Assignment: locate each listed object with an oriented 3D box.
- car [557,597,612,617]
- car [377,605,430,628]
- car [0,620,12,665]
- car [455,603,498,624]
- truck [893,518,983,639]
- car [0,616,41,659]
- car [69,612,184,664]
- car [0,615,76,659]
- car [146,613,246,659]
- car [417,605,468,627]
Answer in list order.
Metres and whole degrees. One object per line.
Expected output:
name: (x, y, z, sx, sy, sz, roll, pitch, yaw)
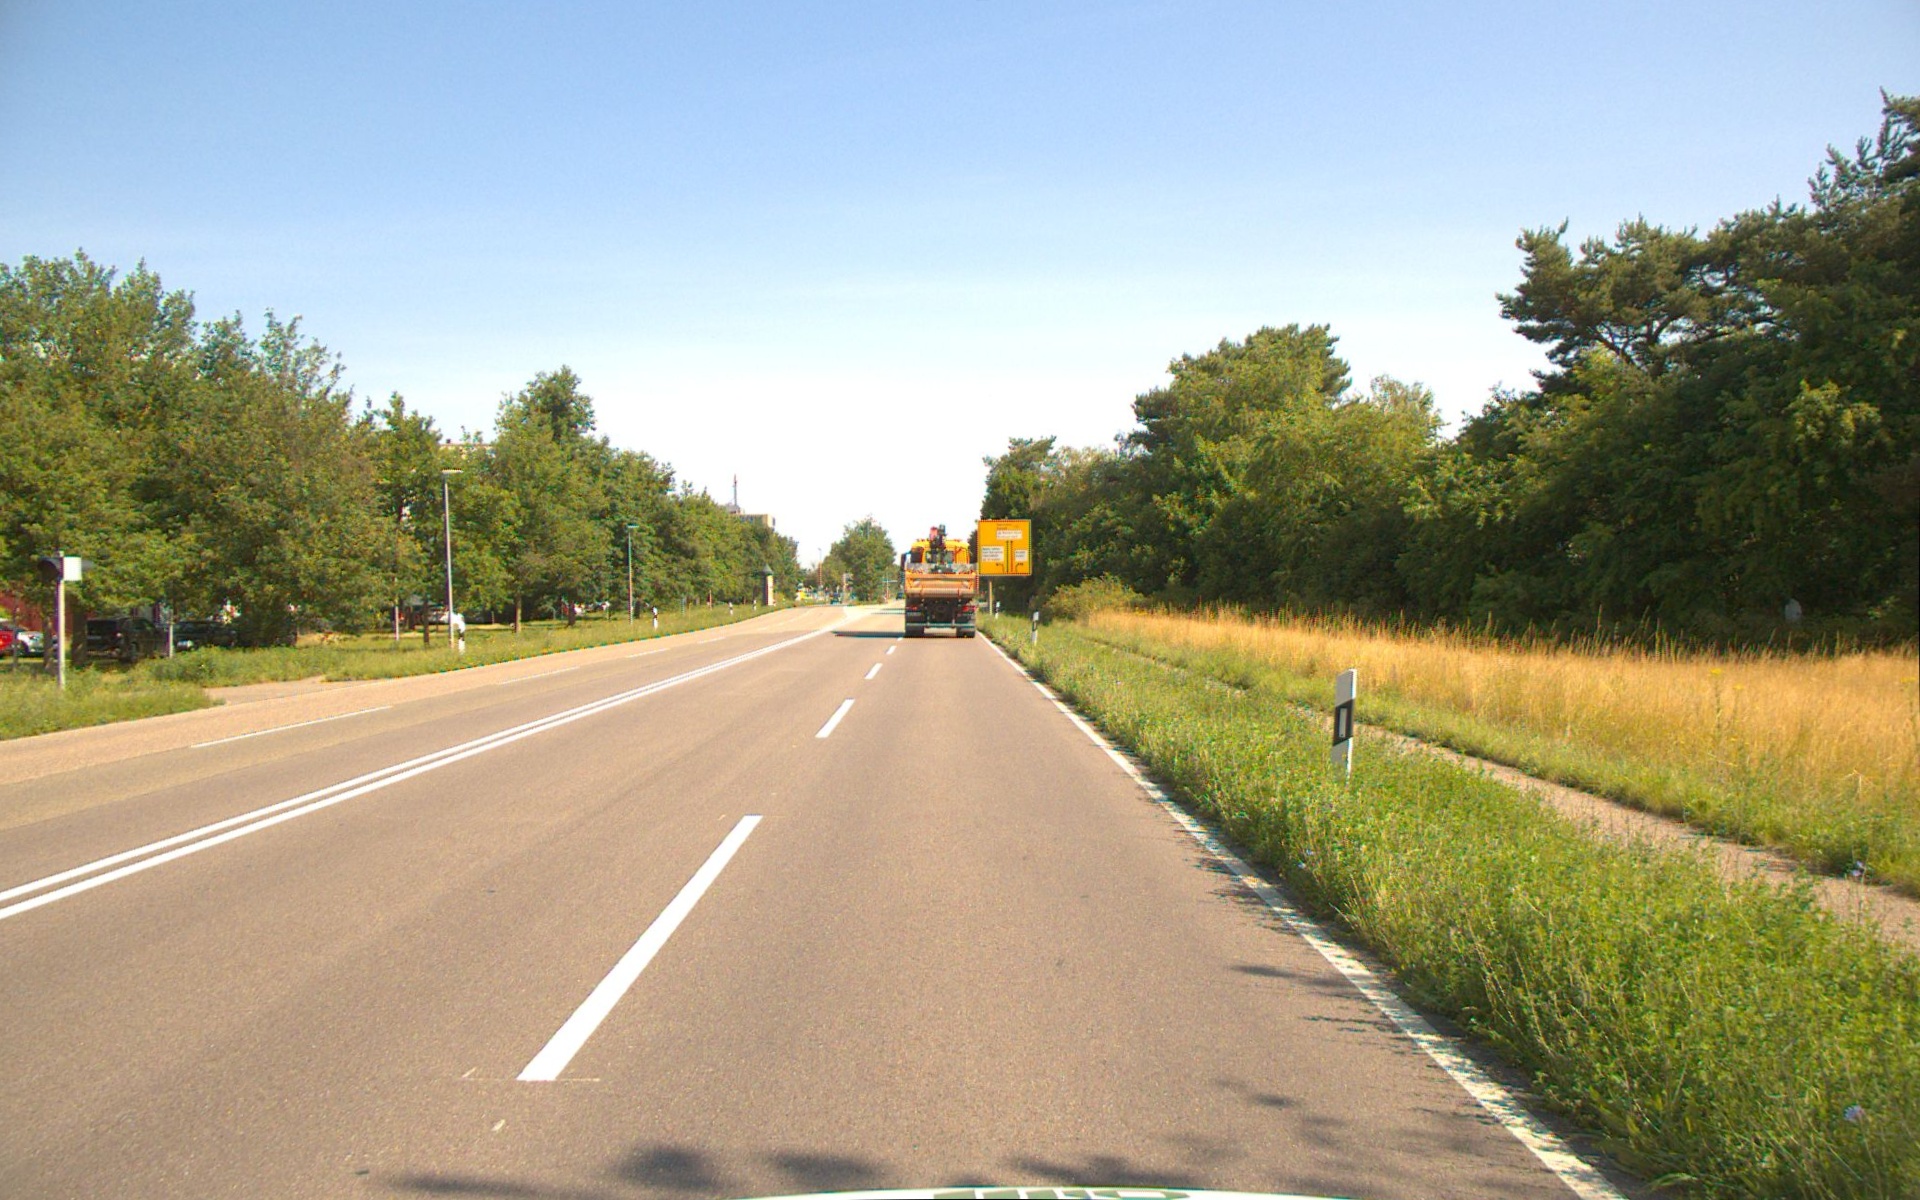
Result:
car: (-34.367, 0.650, 151.499, 4.502, 1.679, 1.999, -1, 0, -2)
car: (-38.567, 1.151, 114.696, 1.952, 1.462, 4.955, -1, 0, 0)
car: (-35.936, 1.540, 58.301, 3.907, 1.563, 1.887, -1, 0, -2)
car: (-36.591, 0.998, 125.302, 1.953, 1.462, 4.609, -1, 0, -1)
truck: (-0.874, -0.729, 58.661, 2.815, 3.948, 7.395, 1, 0, -3)
car: (-36.527, 1.409, 61.262, 3.907, 1.563, 1.742, -1, 0, -2)
car: (-28.664, 1.268, 57.063, 1.708, 1.606, 4.547, -1, 0, -1)
car: (-36.523, 1.420, 63.588, 4.052, 1.613, 1.742, -1, 0, -2)
car: (-28.838, 1.327, 62.563, 1.708, 1.606, 4.547, -1, 0, -1)
car: (-36.027, 1.090, 115.351, 1.952, 1.462, 4.955, -1, 0, 0)
